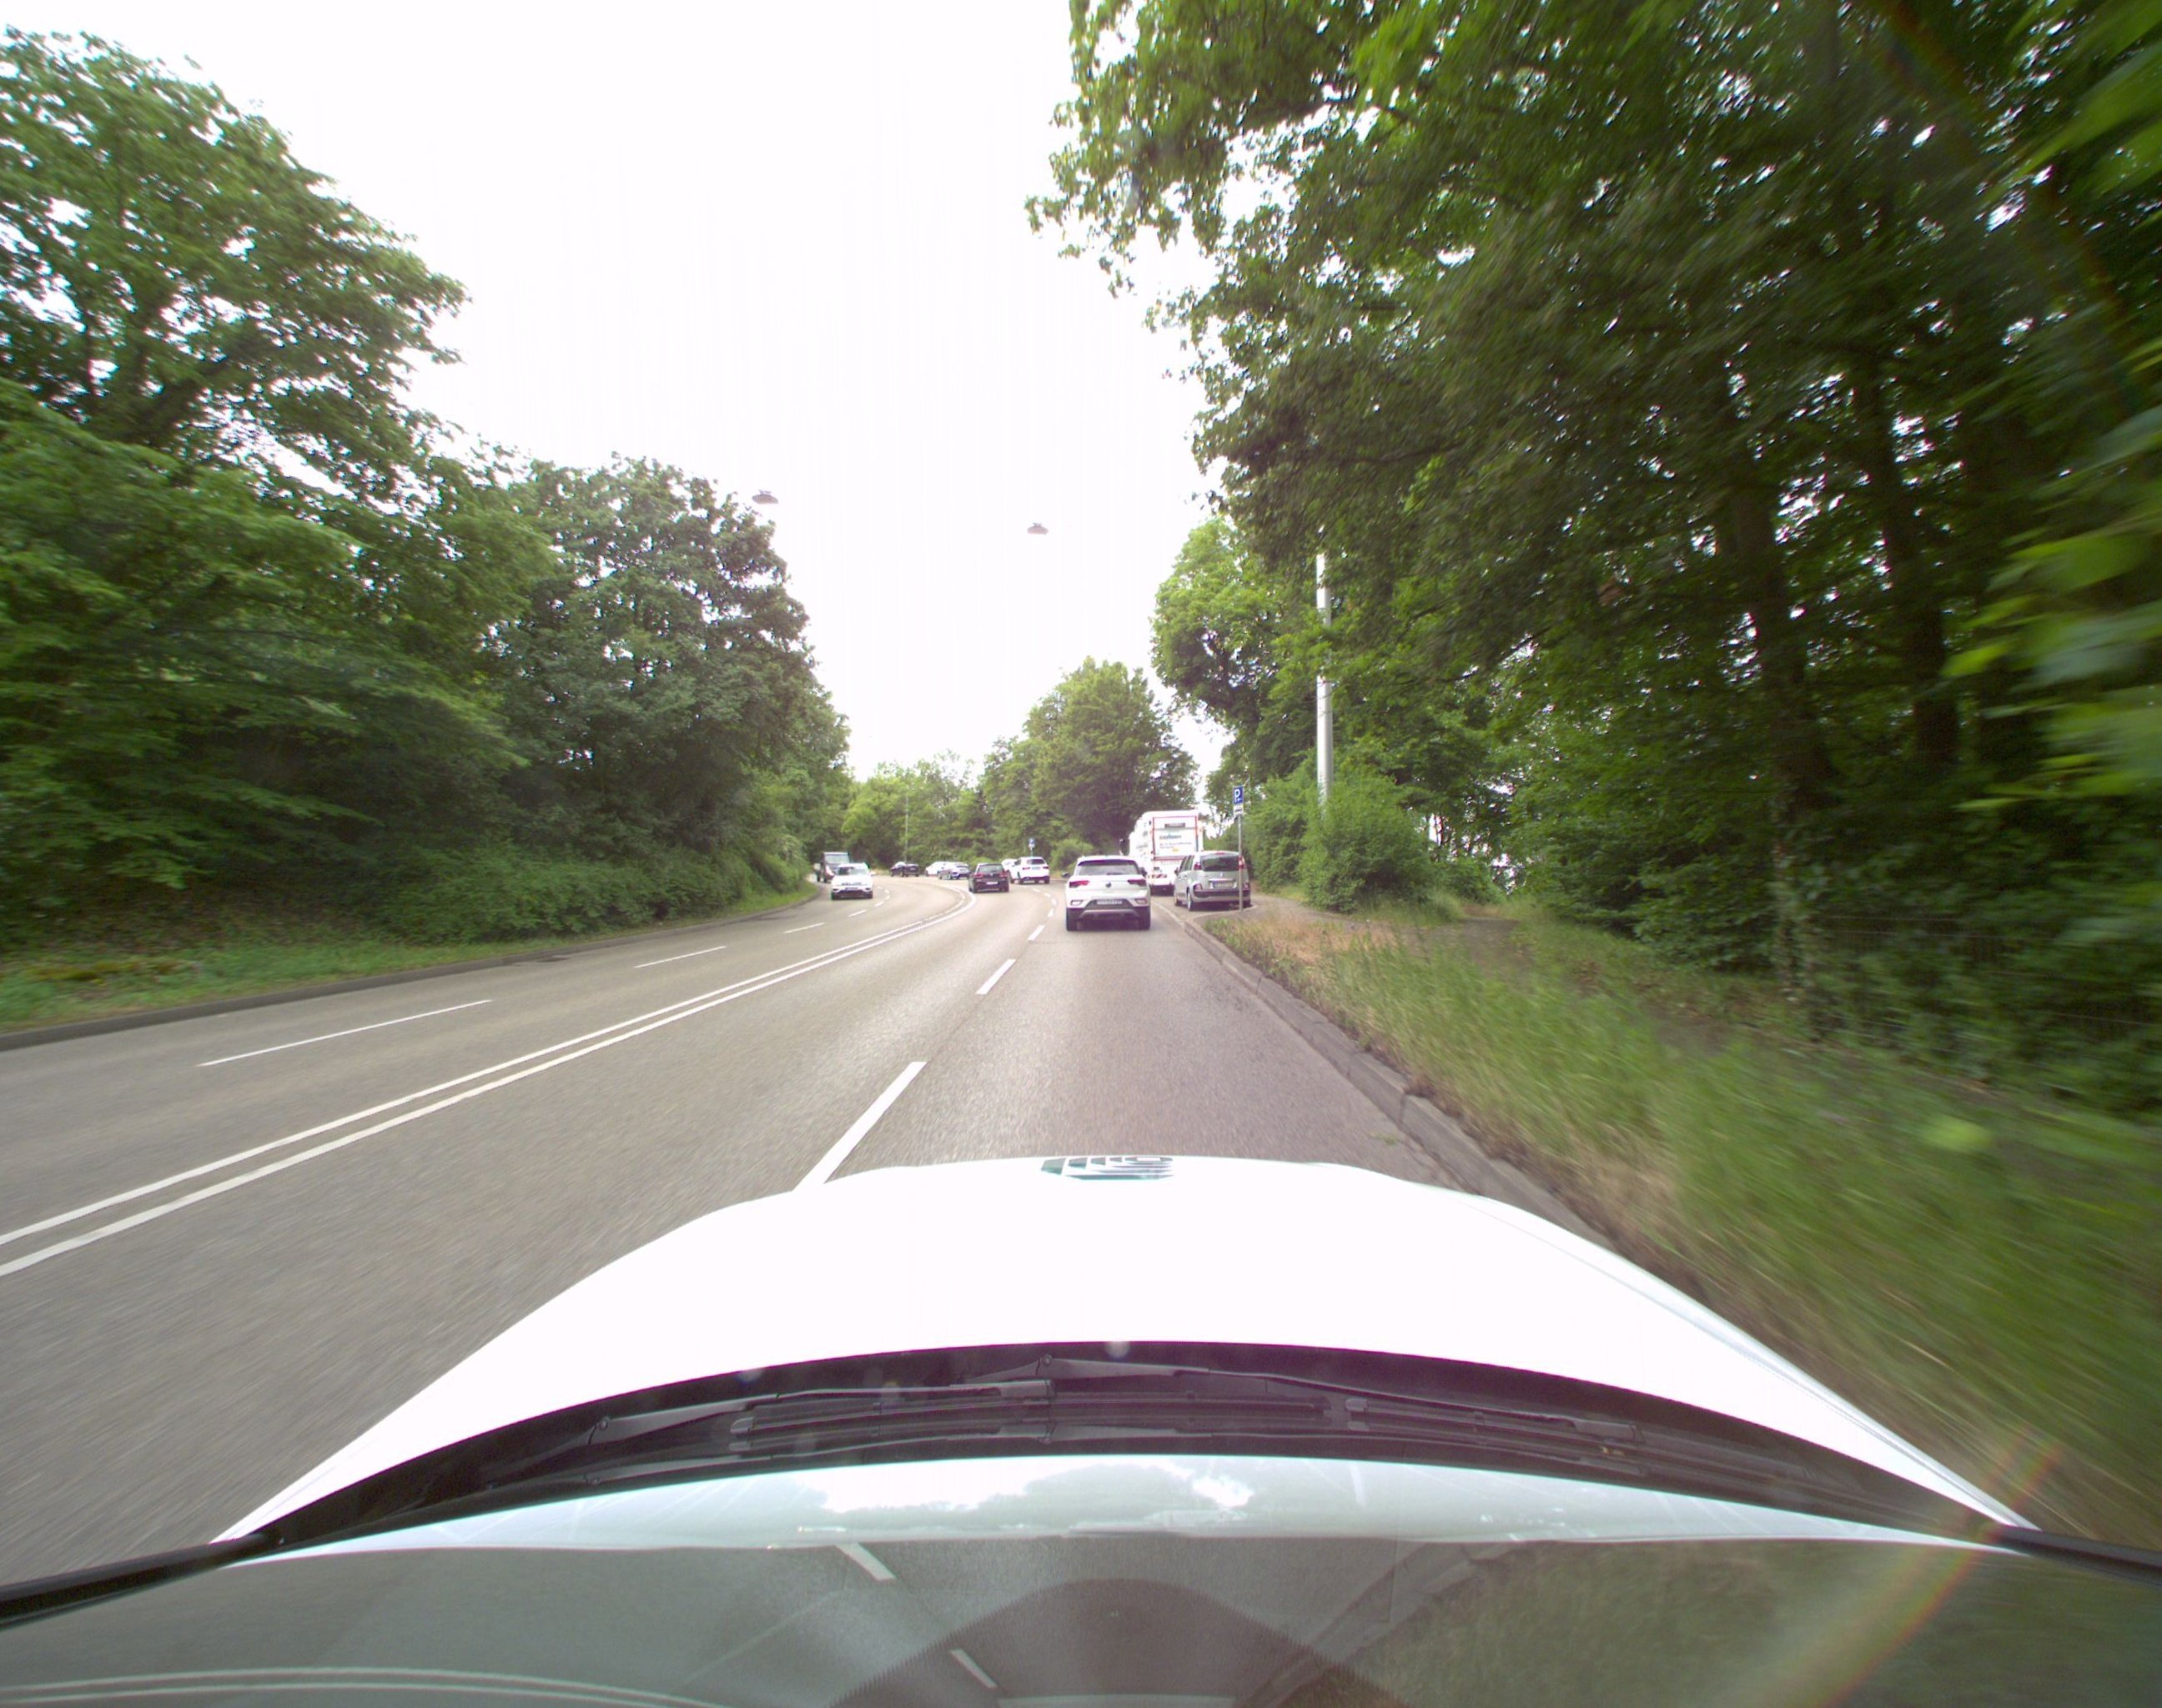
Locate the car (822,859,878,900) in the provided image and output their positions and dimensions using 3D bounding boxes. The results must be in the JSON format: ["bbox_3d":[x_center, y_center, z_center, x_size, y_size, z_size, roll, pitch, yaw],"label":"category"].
[{"bbox_3d":[-11.012,1.223,38.622,1.865,1.694,4.400,-4,-1,-24],"label":"car"}]

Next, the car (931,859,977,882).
[{"bbox_3d":[-10.475,1.334,66.902,2.009,1.717,3.955,2,-1,-38],"label":"car"}]

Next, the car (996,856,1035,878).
[{"bbox_3d":[-5.401,1.067,66.581,1.767,1.652,4.343,-1,0,-26],"label":"car"}]

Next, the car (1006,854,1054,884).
[{"bbox_3d":[-3.154,0.859,50.005,1.858,1.702,3.973,-2,1,-20],"label":"car"}]

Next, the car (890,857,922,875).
[{"bbox_3d":[-16.835,1.144,78.315,1.777,1.607,3.960,2,-1,-31],"label":"car"}]

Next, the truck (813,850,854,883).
[{"bbox_3d":[-19.031,0.953,62.445,2.171,2.371,6.624,-1,0,-24],"label":"truck"}]

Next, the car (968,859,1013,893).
[{"bbox_3d":[-4.438,1.077,40.369,1.945,1.466,3.994,-3,-1,-4],"label":"car"}]

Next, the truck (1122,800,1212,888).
[{"bbox_3d":[3.361,-0.310,33.466,2.477,3.182,7.218,1,-1,-4],"label":"truck"}]

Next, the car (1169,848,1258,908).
[{"bbox_3d":[3.723,0.661,23.473,1.798,1.524,3.998,-2,-1,-1],"label":"car"}]

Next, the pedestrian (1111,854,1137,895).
[{"bbox_3d":[2.082,0.997,39.541,0.914,1.833,0.984,11,-1,1],"label":"pedestrian"}]

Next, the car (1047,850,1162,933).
[{"bbox_3d":[0.399,0.764,18.144,1.998,1.596,3.991,2,-1,-6],"label":"car"}]
